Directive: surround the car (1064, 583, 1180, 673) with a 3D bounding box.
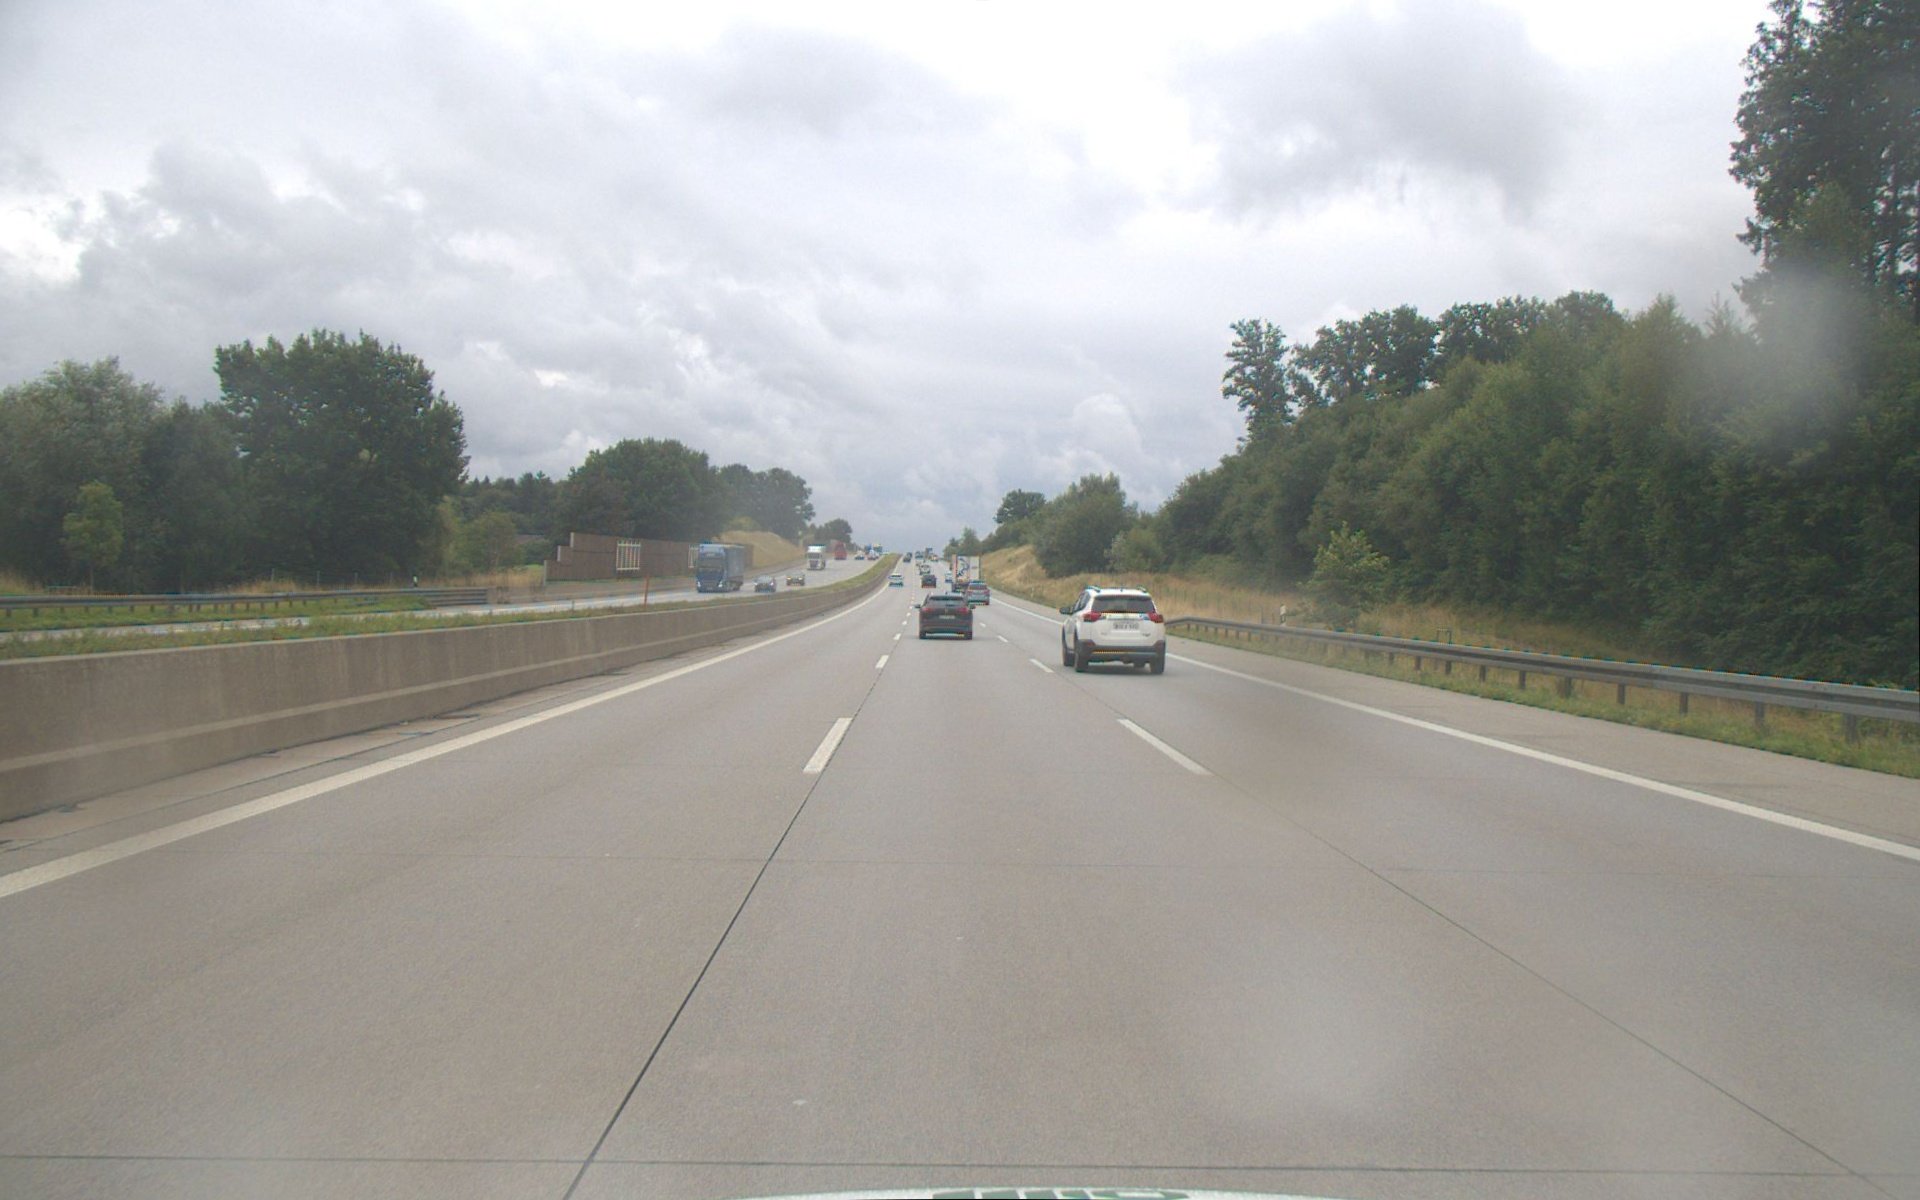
[{"bbox_3d":[3.243,0.533,33.849,1.789,1.684,3.983,2,0,-2],"label":"car"}]

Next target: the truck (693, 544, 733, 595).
[{"bbox_3d":[-21.704,-2.628,145.698,2.637,4.261,6.208,2,0,-2],"label":"truck"}]

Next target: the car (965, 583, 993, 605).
[{"bbox_3d":[1.399,-0.421,124.785,1.953,1.557,3.999,2,0,-1],"label":"car"}]

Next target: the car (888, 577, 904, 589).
[{"bbox_3d":[-8.138,-2.205,212.041,1.908,1.380,4.258,0,-2,0],"label":"car"}]

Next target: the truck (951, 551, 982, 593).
[{"bbox_3d":[0.596,-2.912,174.529,2.956,4.253,8.352,1,1,-1],"label":"truck"}]

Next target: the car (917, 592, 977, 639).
[{"bbox_3d":[-0.464,0.526,53.483,1.717,1.423,4.480,1,-1,-3],"label":"car"}]

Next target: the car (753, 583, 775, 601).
[{"bbox_3d":[-17.909,-0.721,151.472,1.604,1.527,4.515,2,-1,-3],"label":"car"}]

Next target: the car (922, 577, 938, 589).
[{"bbox_3d":[-3.754,-2.091,207.245,1.896,1.399,4.594,2,0,0],"label":"car"}]

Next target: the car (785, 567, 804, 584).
[{"bbox_3d":[-18.830,-2.777,188.403,1.780,1.798,4.730,1,0,-2],"label":"car"}]
